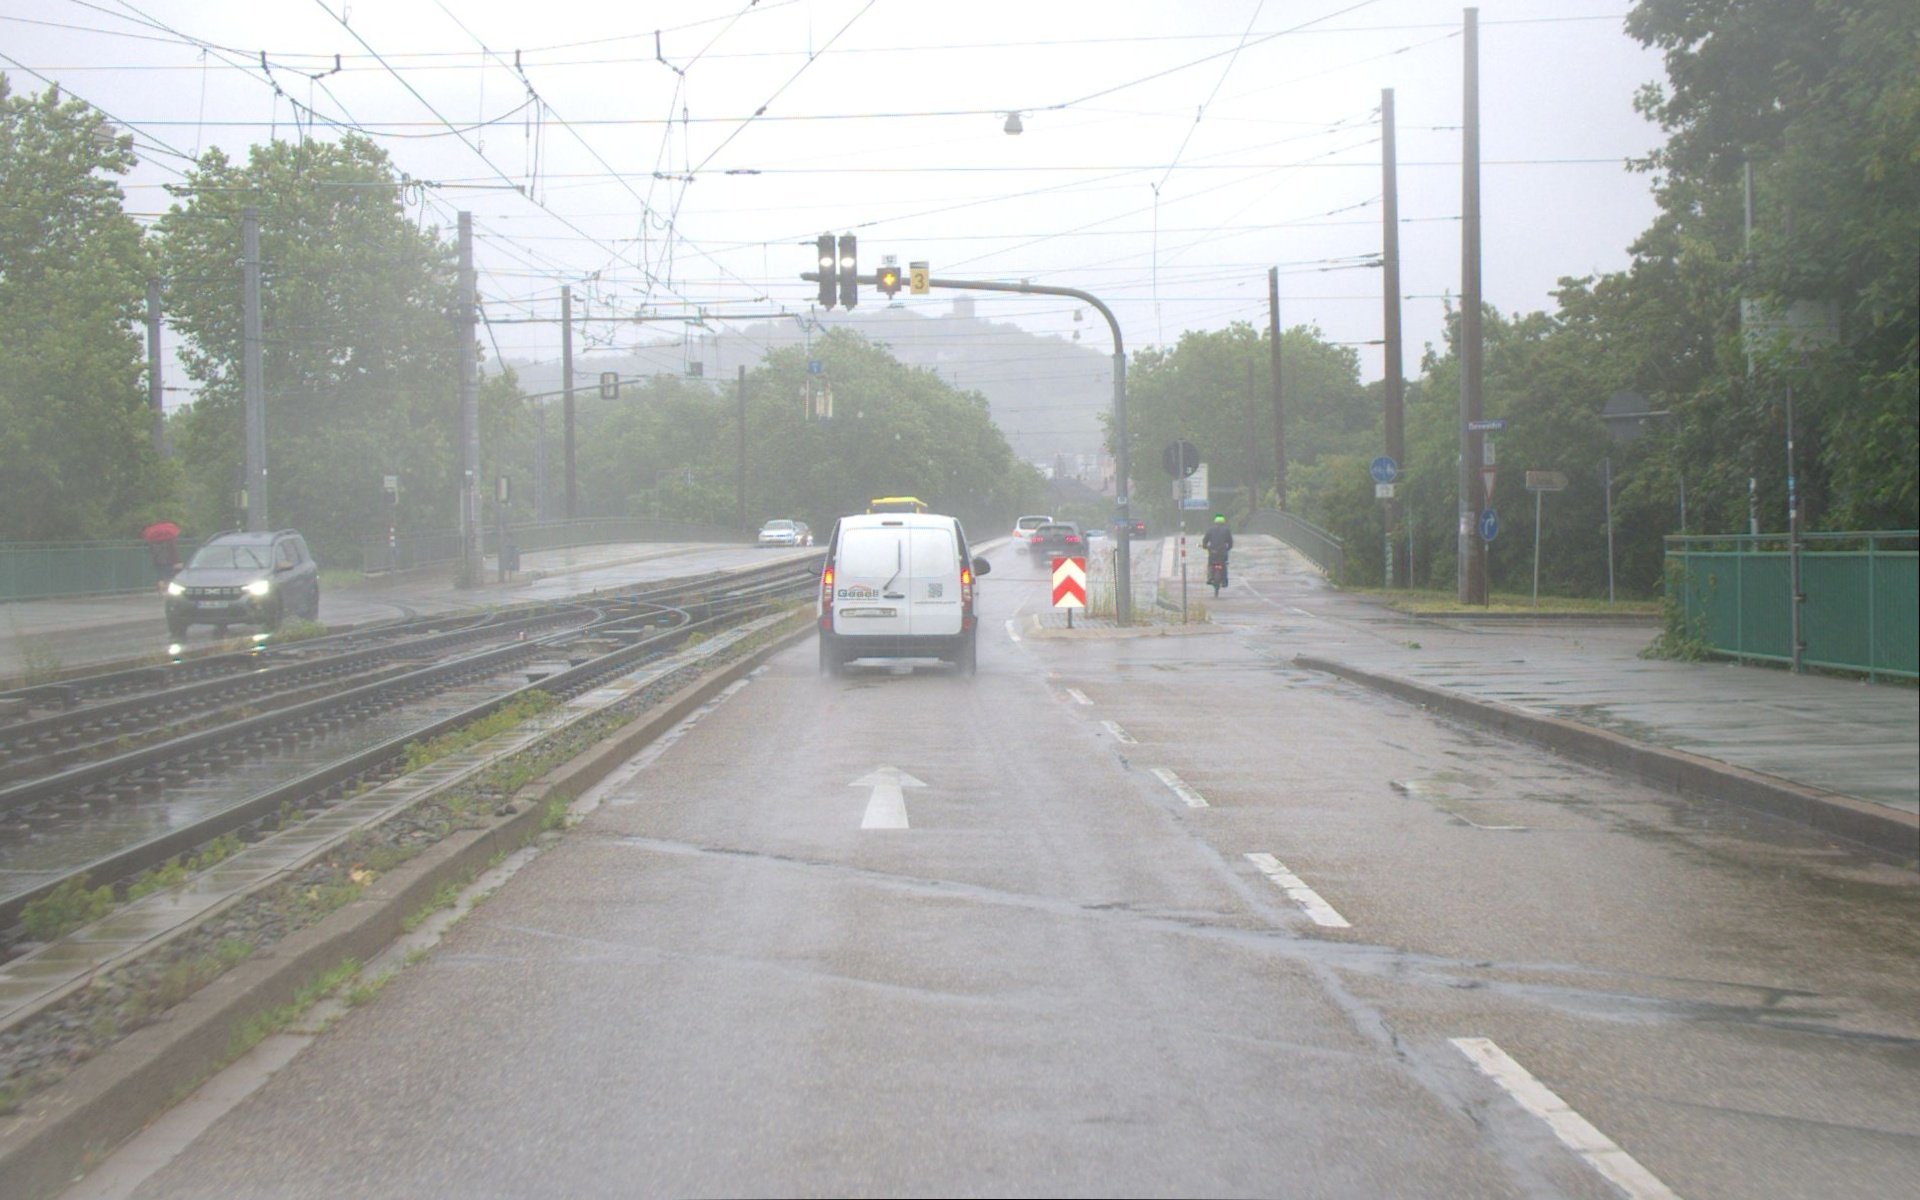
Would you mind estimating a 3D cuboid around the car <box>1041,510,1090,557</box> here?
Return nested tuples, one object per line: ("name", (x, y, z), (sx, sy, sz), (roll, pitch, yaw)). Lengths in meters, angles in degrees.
("car", (3.443, -2.151, 112.335), (1.451, 1.494, 2.982), (1, 1, -1))

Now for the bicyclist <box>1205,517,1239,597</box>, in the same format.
("bicyclist", (5.868, -0.965, 77.019), (0.725, 1.758, 0.949), (1, 0, 4))

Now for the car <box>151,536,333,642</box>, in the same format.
("car", (-11.945, -0.221, 57.503), (1.993, 1.643, 5.372), (1, 1, -1))

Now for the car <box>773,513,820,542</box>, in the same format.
("car", (-8.212, -3.656, 172.825), (1.934, 1.227, 4.100), (-2, 3, 3))

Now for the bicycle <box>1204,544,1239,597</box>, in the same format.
("bicycle", (5.848, -0.671, 77.011), (0.723, 1.125, 2.167), (1, 1, 4))

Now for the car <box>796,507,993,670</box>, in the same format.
("car", (-0.690, -0.142, 39.064), (1.994, 1.720, 4.000), (1, 1, 2))

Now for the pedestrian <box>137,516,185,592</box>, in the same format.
("pedestrian", (-19.206, -1.107, 82.678), (0.864, 1.812, 1.043), (1, 0, 2))

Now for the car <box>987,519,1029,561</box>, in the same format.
("car", (1.777, -2.221, 127.488), (1.451, 1.494, 2.982), (1, 1, -1))
